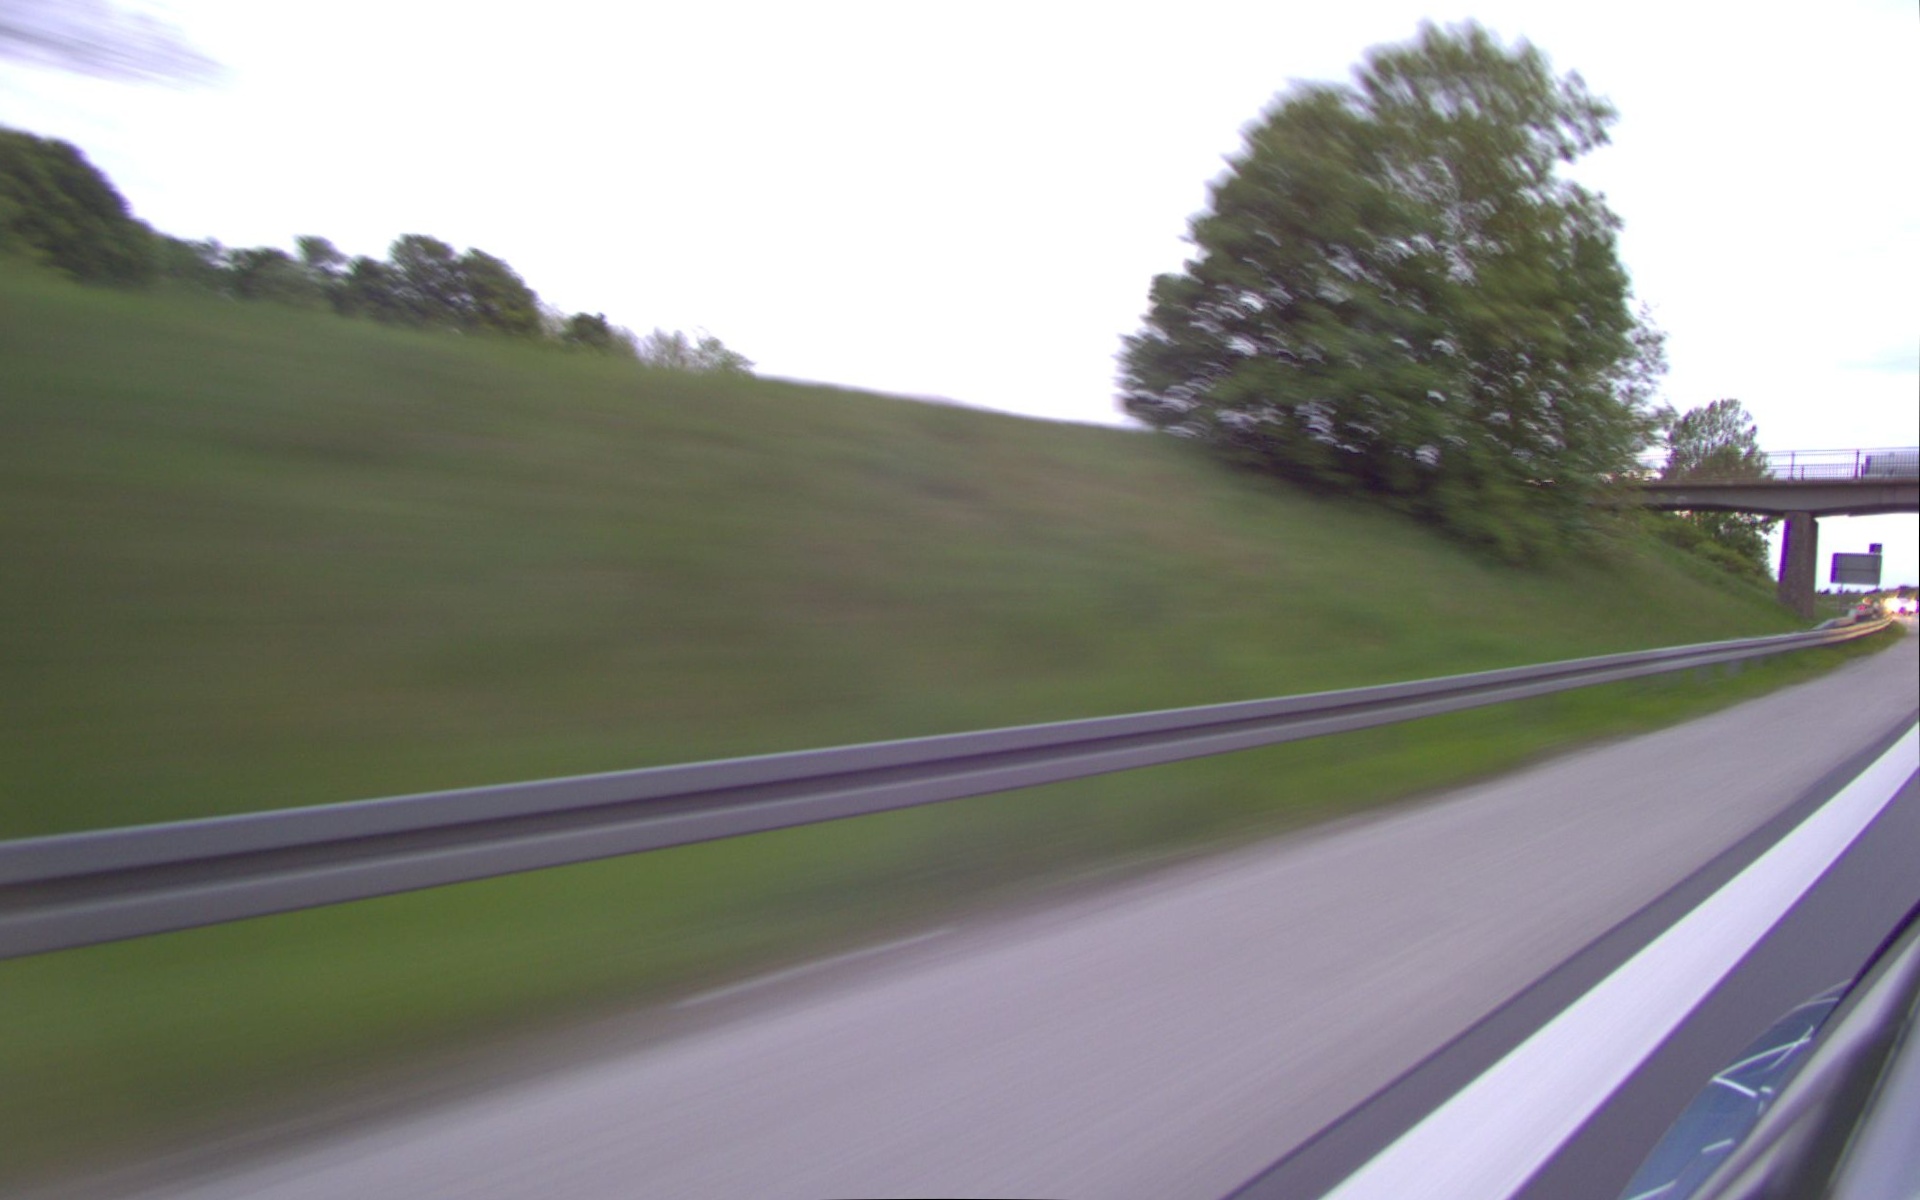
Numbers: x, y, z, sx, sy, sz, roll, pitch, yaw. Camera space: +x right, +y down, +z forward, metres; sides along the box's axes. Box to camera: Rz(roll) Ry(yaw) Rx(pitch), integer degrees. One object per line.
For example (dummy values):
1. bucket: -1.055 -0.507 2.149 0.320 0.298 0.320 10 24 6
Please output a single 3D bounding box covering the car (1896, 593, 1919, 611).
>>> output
1. car: 105.577 0.255 112.565 1.914 1.860 3.940 3 1 41
